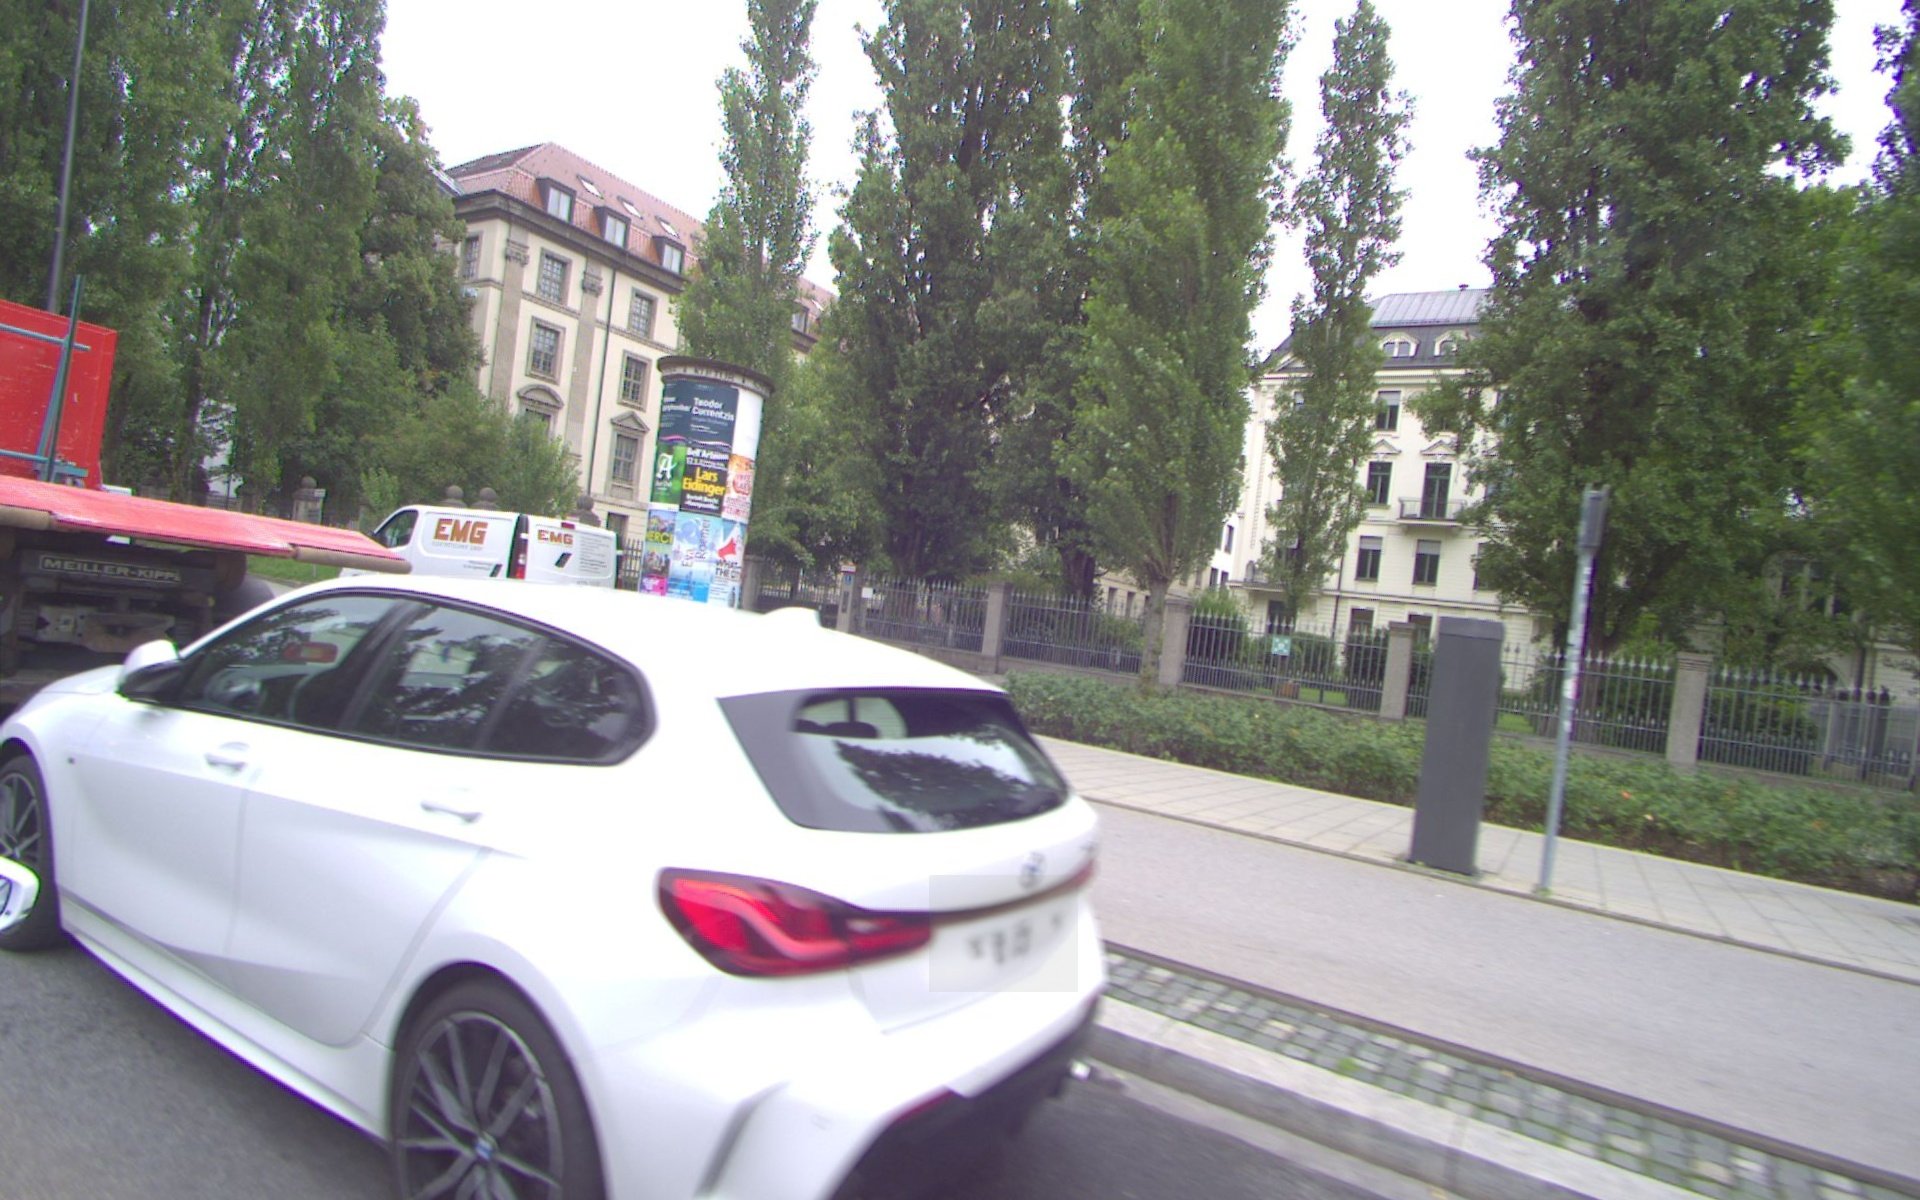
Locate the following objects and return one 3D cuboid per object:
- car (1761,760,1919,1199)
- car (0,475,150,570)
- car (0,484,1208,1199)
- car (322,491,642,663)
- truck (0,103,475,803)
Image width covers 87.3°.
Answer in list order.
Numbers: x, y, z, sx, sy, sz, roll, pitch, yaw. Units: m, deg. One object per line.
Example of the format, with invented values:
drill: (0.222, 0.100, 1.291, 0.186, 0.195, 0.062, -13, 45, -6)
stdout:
car: (3.226, 1.167, 0.425, 4.299, 1.326, 1.737, 7, -1, 34)
car: (-23.349, -2.063, 26.154, 5.001, 1.970, 1.996, 6, -1, 33)
car: (-1.560, 0.580, 3.332, 4.148, 1.477, 1.791, 7, -1, 33)
car: (-7.341, -0.392, 15.320, 4.803, 1.967, 1.885, 7, -2, 31)
truck: (-8.226, -1.054, 8.013, 10.256, 3.148, 2.716, 7, 0, 33)
